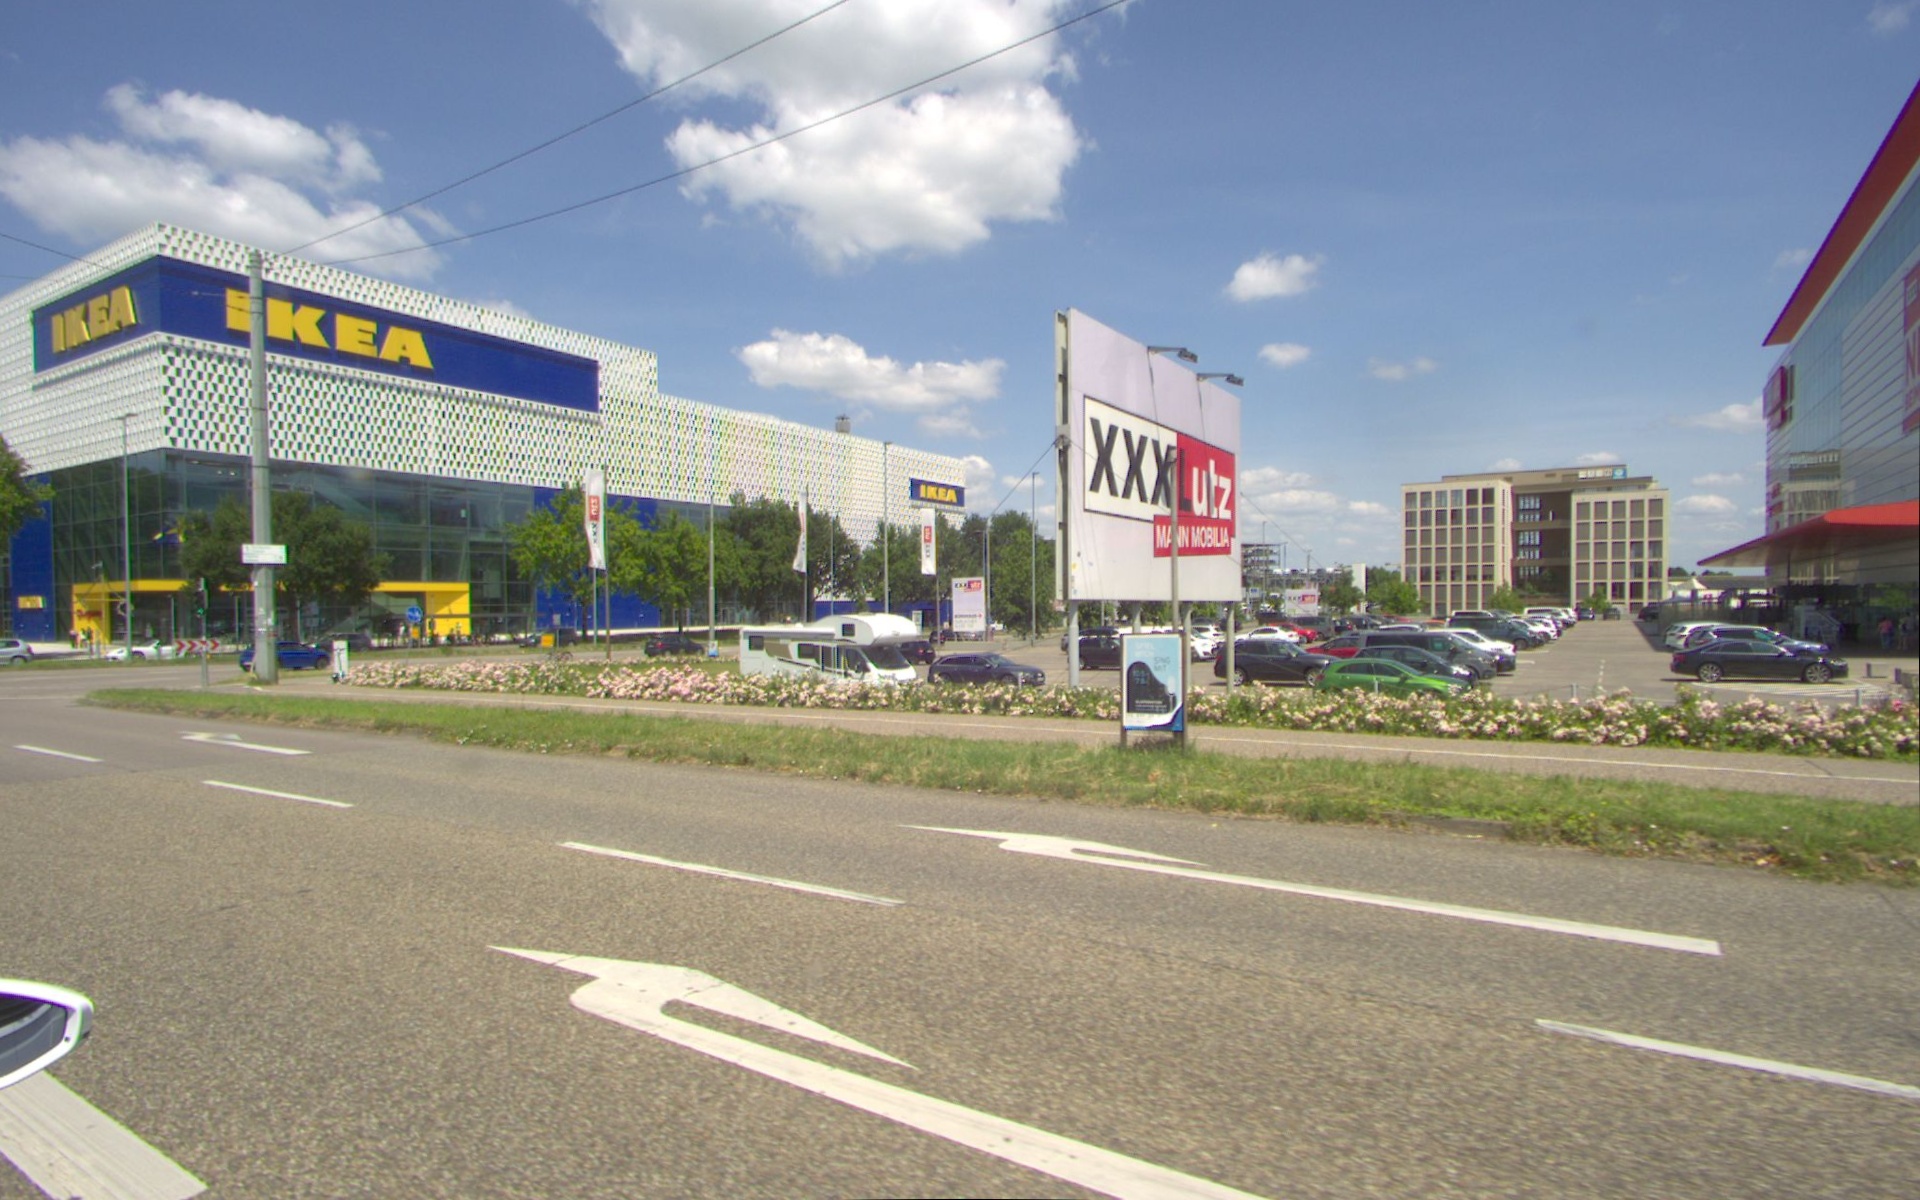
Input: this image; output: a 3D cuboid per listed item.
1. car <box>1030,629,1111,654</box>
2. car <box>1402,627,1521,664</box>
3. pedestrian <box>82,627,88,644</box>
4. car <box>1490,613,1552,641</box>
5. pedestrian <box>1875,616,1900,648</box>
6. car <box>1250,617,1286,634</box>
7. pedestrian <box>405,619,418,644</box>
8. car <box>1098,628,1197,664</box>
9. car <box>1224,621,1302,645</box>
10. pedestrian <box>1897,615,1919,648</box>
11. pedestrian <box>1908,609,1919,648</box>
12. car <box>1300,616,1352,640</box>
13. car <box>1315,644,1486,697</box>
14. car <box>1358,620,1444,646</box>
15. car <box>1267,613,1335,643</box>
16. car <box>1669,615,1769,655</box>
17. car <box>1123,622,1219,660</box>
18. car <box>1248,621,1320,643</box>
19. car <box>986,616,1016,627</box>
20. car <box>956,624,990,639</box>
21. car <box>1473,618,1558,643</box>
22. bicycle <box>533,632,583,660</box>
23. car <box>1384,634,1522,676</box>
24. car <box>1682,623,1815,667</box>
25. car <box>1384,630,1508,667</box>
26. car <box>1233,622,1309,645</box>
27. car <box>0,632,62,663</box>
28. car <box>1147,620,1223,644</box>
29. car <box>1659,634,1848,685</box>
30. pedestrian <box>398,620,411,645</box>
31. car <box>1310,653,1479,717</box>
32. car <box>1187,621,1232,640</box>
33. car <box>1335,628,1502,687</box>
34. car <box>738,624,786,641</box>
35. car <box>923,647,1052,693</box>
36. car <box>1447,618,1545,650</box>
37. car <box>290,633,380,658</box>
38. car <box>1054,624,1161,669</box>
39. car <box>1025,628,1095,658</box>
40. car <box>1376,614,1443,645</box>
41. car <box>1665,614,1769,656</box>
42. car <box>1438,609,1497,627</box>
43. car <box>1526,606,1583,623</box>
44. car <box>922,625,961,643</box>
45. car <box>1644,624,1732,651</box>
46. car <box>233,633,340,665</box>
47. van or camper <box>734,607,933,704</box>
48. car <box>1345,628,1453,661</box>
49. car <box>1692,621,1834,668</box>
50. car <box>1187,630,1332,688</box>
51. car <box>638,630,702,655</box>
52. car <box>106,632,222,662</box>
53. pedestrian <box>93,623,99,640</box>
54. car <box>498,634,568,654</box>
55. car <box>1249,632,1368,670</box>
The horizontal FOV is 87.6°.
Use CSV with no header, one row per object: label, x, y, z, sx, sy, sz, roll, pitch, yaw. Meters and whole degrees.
car,7.376,2.780,67.262,5.084,1.631,1.990,-1,-2,33
car,23.963,2.141,47.914,4.930,1.671,1.990,-1,-2,33
pedestrian,-69.193,2.809,79.218,0.263,1.359,0.288,-1,-1,32
car,41.828,2.017,74.672,3.943,2.039,1.990,-1,-1,32
pedestrian,45.795,1.574,49.441,0.725,1.577,0.740,-1,-1,30
car,38.922,3.195,126.543,4.068,2.039,1.480,1,-2,32
pedestrian,-45.689,2.633,83.397,0.813,2.039,0.709,-1,-1,35
car,10.099,2.454,54.060,4.930,1.876,1.990,-1,-2,33
car,21.275,2.313,70.346,4.930,1.631,1.990,-1,-2,33
pedestrian,45.818,1.508,48.300,0.725,1.577,0.740,-1,-1,30
pedestrian,46.955,1.376,48.953,0.725,1.893,0.739,-1,-1,30
car,31.676,2.425,86.642,3.943,2.039,1.990,-1,-1,32
car,14.528,2.284,33.131,4.930,1.570,1.990,-1,-2,33
car,28.937,2.141,65.699,4.930,1.631,1.990,-1,-2,33
car,27.515,2.244,80.895,4.930,2.333,1.990,-1,-2,33
car,39.515,1.822,52.241,3.943,2.039,1.990,-1,-1,32
car,11.794,2.263,56.035,4.930,2.033,1.990,-1,-2,33
car,24.855,2.482,76.813,4.930,1.631,1.990,-1,-2,33
car,5.690,3.007,139.150,1.974,1.504,4.486,-1,-3,36
car,1.378,3.307,105.700,1.741,1.546,4.079,-1,-1,31
car,37.781,2.077,68.117,4.930,1.631,1.990,-1,-2,33
bicycle,-22.323,2.553,55.614,0.976,1.500,2.415,-1,-2,37
car,20.277,2.229,41.241,4.930,1.631,1.990,-1,-2,33
car,33.989,1.933,43.329,4.272,1.804,1.990,-1,-3,33
car,22.171,2.172,45.750,4.930,1.631,1.990,-1,-2,33
car,22.460,2.407,72.386,4.930,1.631,1.990,-1,-2,33
car,-46.126,2.258,47.839,1.974,1.504,4.486,-1,-3,36
car,15.855,2.265,70.606,4.922,1.631,1.993,-1,-2,27
car,27.354,2.016,34.768,4.930,1.631,1.990,-1,-2,33
pedestrian,-46.533,2.712,83.854,0.813,2.039,0.709,-1,-1,35
car,12.541,2.392,28.966,4.242,1.517,1.988,-1,2,33
car,24.936,3.040,100.147,3.943,1.863,1.819,-1,-1,32
car,16.993,2.083,37.251,5.456,2.039,1.990,-1,-2,33
car,-19.441,3.212,98.622,1.974,1.504,4.486,-1,-3,36
car,1.063,2.701,39.299,4.702,1.558,1.989,-1,0,33
car,32.040,2.035,59.928,5.106,1.889,1.991,-1,-2,31
car,-39.877,2.859,64.007,1.974,1.505,4.484,-1,-2,36
car,7.329,2.280,49.994,4.930,2.162,1.990,-1,-2,33
car,6.275,2.692,62.741,3.936,1.839,1.993,-1,-1,26
car,30.381,1.997,67.706,3.943,2.039,1.990,-1,-1,32
car,37.859,1.741,50.201,3.943,2.039,1.990,-1,-2,32
car,48.619,1.717,95.921,4.930,1.631,1.990,-1,-2,33
car,59.672,1.457,100.549,4.930,1.631,1.990,-1,-2,33
car,-1.710,3.151,93.075,1.741,1.546,4.080,-1,-2,31
car,41.896,2.139,57.747,3.943,1.505,1.990,-1,-2,32
car,-32.642,2.367,48.673,1.811,1.473,3.993,0,-2,21
van or camper,-4.501,1.848,34.676,7.129,3.059,2.499,-1,-2,36
car,22.844,2.279,52.135,4.928,1.631,1.991,-1,-2,32
car,32.519,1.807,40.747,4.272,1.804,1.990,-1,-3,33
car,11.385,2.188,38.205,4.930,2.040,1.989,-1,0,33
car,-19.494,2.837,67.400,1.741,1.546,4.079,-1,-1,31
car,-42.524,2.509,53.581,1.974,1.504,4.486,-1,-3,36
pedestrian,-68.861,2.526,79.781,0.263,1.359,0.288,-1,-1,32
car,-32.246,3.332,75.702,1.974,1.504,4.486,-1,-3,36
car,16.309,2.362,46.963,4.930,1.632,1.989,-1,0,33
